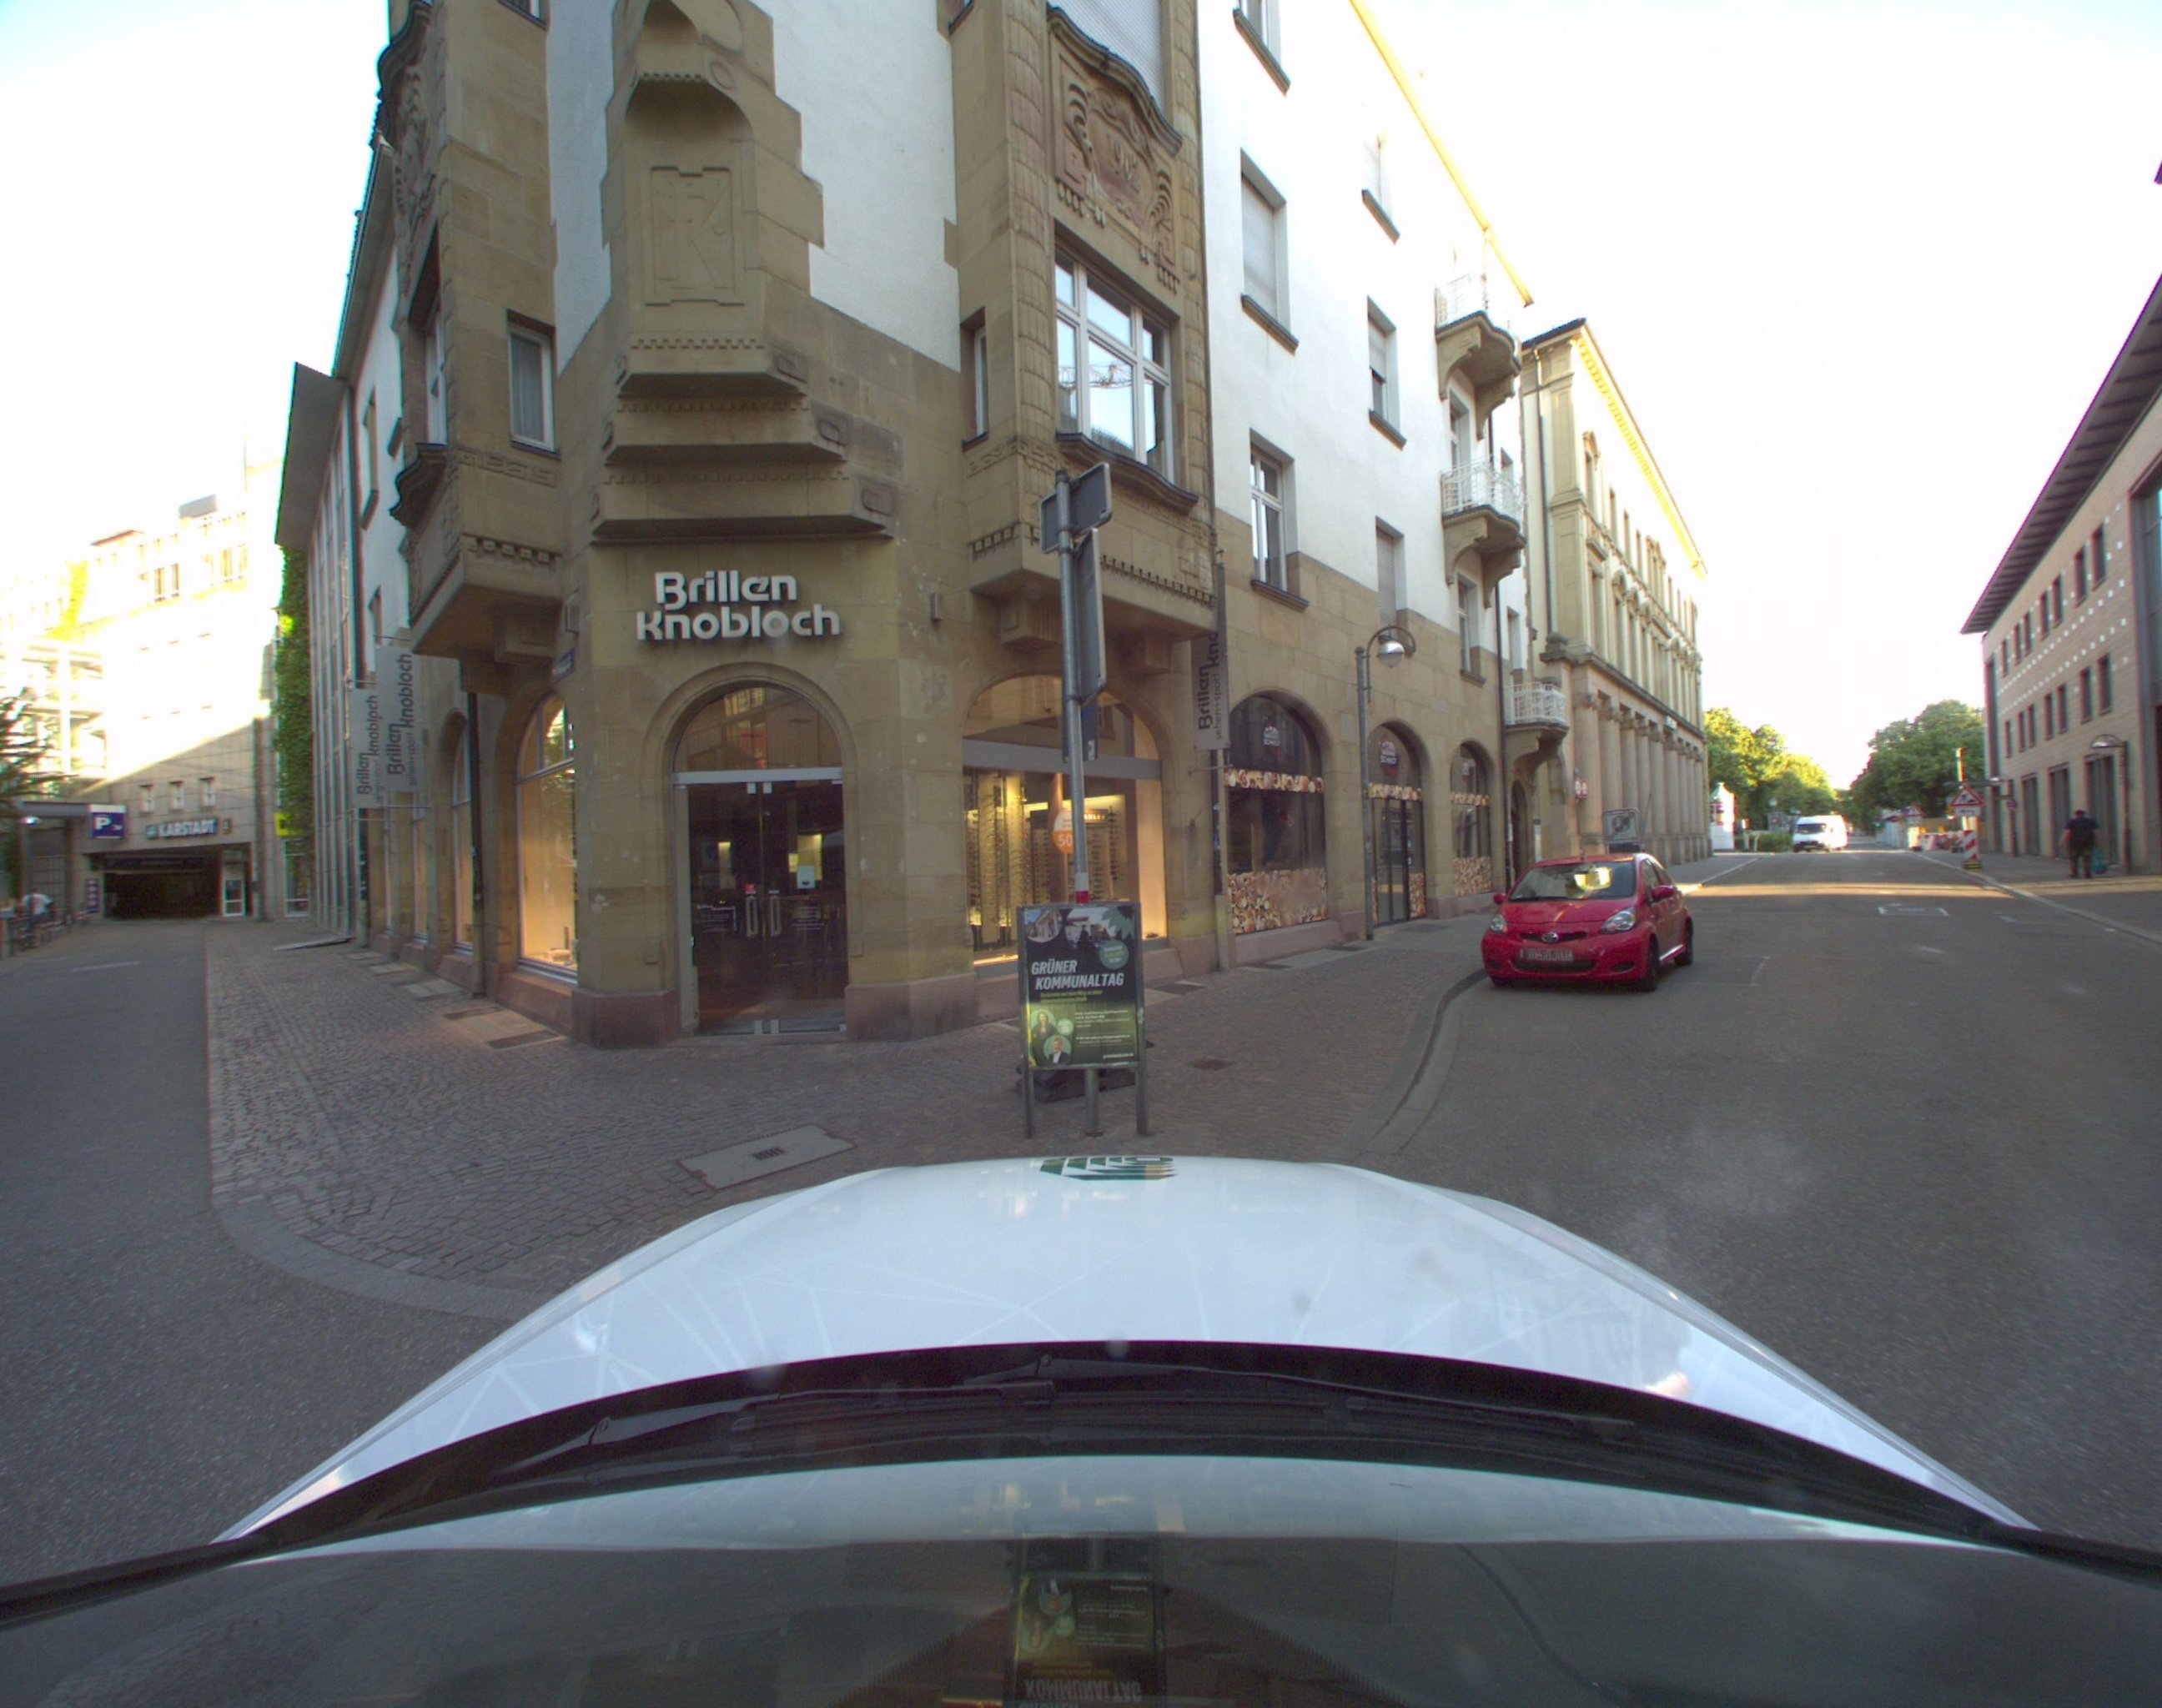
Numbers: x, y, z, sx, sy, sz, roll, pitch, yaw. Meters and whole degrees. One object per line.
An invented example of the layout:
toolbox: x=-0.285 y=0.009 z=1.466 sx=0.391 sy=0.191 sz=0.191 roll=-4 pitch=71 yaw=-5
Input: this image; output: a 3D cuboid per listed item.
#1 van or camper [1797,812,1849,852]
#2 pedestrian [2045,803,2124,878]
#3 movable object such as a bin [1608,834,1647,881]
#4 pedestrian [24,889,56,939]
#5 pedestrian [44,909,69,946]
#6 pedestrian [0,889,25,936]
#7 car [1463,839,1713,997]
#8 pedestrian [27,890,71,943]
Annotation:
van or camper: x=51.315 y=-1.518 z=56.273 sx=6.409 sy=2.585 sz=2.199 roll=-2 pitch=0 yaw=-44
pedestrian: x=25.983 y=-0.335 z=21.115 sx=0.991 sy=1.803 sz=0.887 roll=-8 pitch=-5 yaw=43
movable object such as a bin: x=18.219 y=0.120 z=27.126 sx=0.821 sy=1.503 sz=1.299 roll=-1 pitch=0 yaw=44
pedestrian: x=-37.800 y=2.176 z=29.576 sx=0.789 sy=1.757 sz=0.636 roll=-3 pitch=-2 yaw=44
pedestrian: x=-34.034 y=2.436 z=27.064 sx=0.515 sy=1.168 sz=0.470 roll=-3 pitch=-2 yaw=44
pedestrian: x=-37.516 y=2.045 z=28.515 sx=0.620 sy=1.604 sz=0.590 roll=-3 pitch=-2 yaw=44
car: x=6.250 y=0.649 z=9.836 sx=1.642 sy=1.470 sz=3.955 roll=-6 pitch=-3 yaw=44
pedestrian: x=-35.520 y=2.140 z=28.039 sx=0.789 sy=1.757 sz=0.871 roll=-3 pitch=-2 yaw=44
